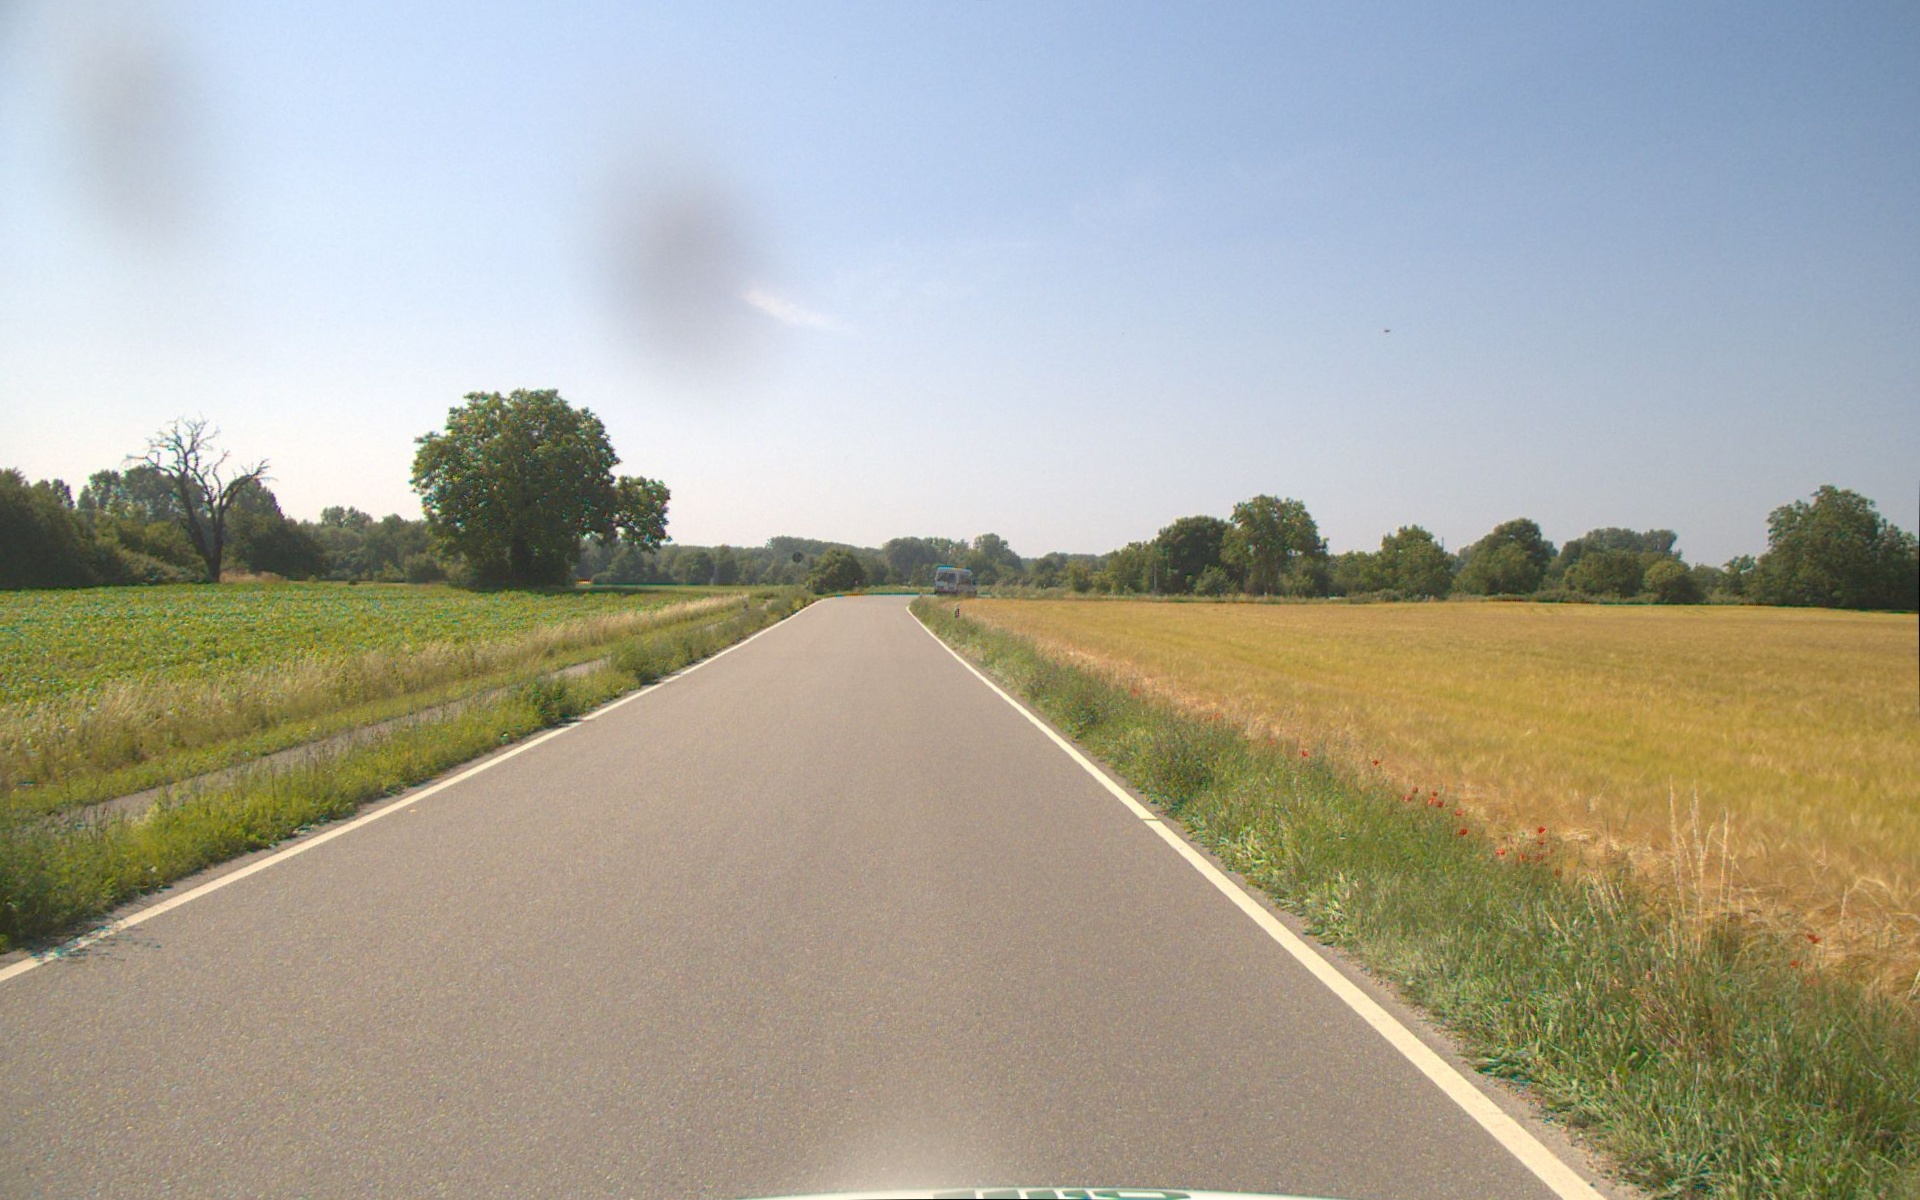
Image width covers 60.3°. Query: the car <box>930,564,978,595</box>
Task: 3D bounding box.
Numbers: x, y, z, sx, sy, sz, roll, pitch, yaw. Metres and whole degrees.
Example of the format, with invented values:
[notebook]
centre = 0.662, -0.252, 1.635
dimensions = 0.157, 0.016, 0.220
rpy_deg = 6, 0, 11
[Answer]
[car]
centre = -0.450, -1.660, 133.663
dimensions = 2.060, 2.408, 5.689
rpy_deg = 1, 1, 19
